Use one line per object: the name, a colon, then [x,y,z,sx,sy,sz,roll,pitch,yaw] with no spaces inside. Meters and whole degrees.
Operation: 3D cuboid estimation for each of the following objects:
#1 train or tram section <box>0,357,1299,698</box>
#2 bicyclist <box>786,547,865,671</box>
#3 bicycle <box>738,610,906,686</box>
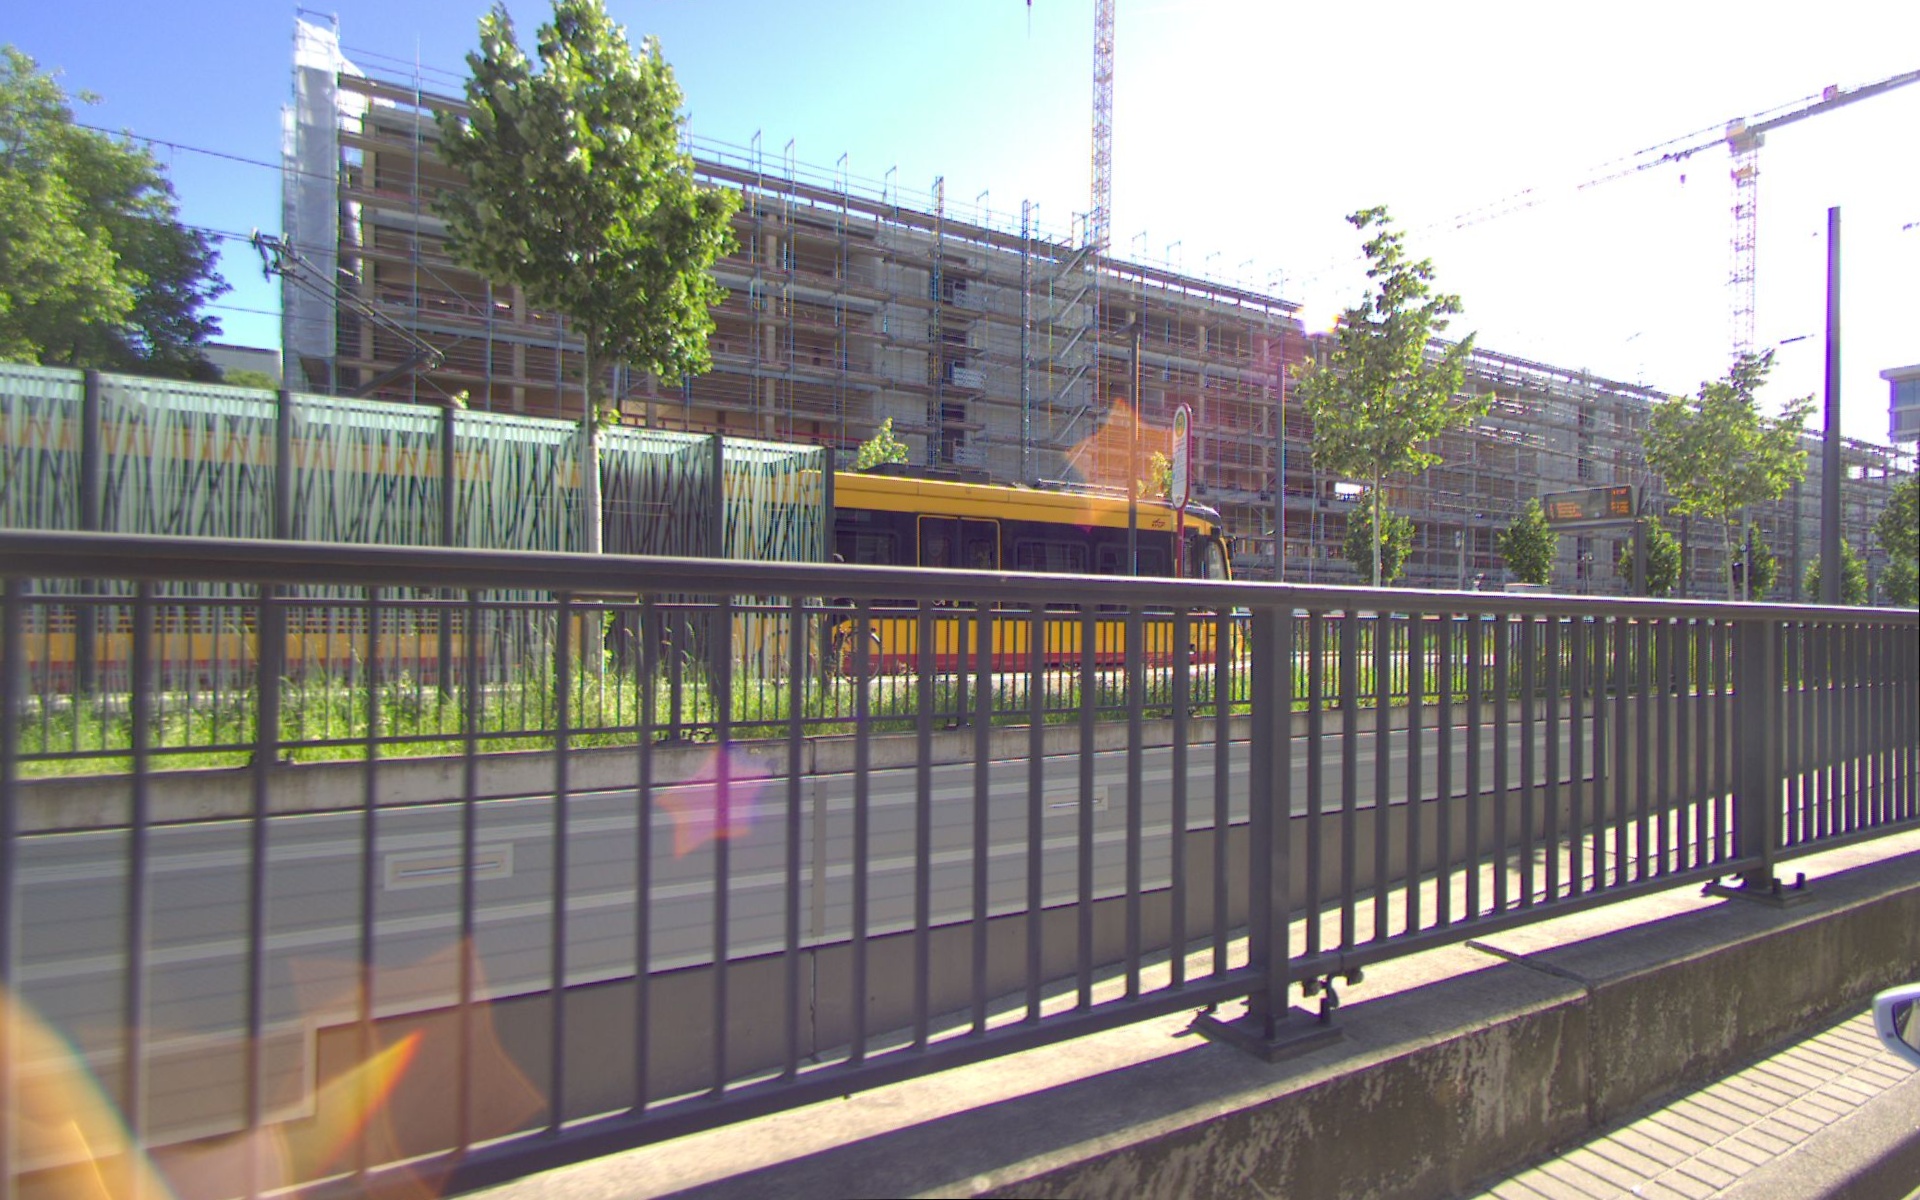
train or tram section: [-3.791,-0.615,14.700,21.880,3.323,2.857,1,1,-30]
bicyclist: [-1.710,0.120,12.743,0.843,1.511,0.535,1,-1,-30]
bicycle: [-1.722,0.595,12.739,2.062,0.897,0.535,1,-1,-30]
